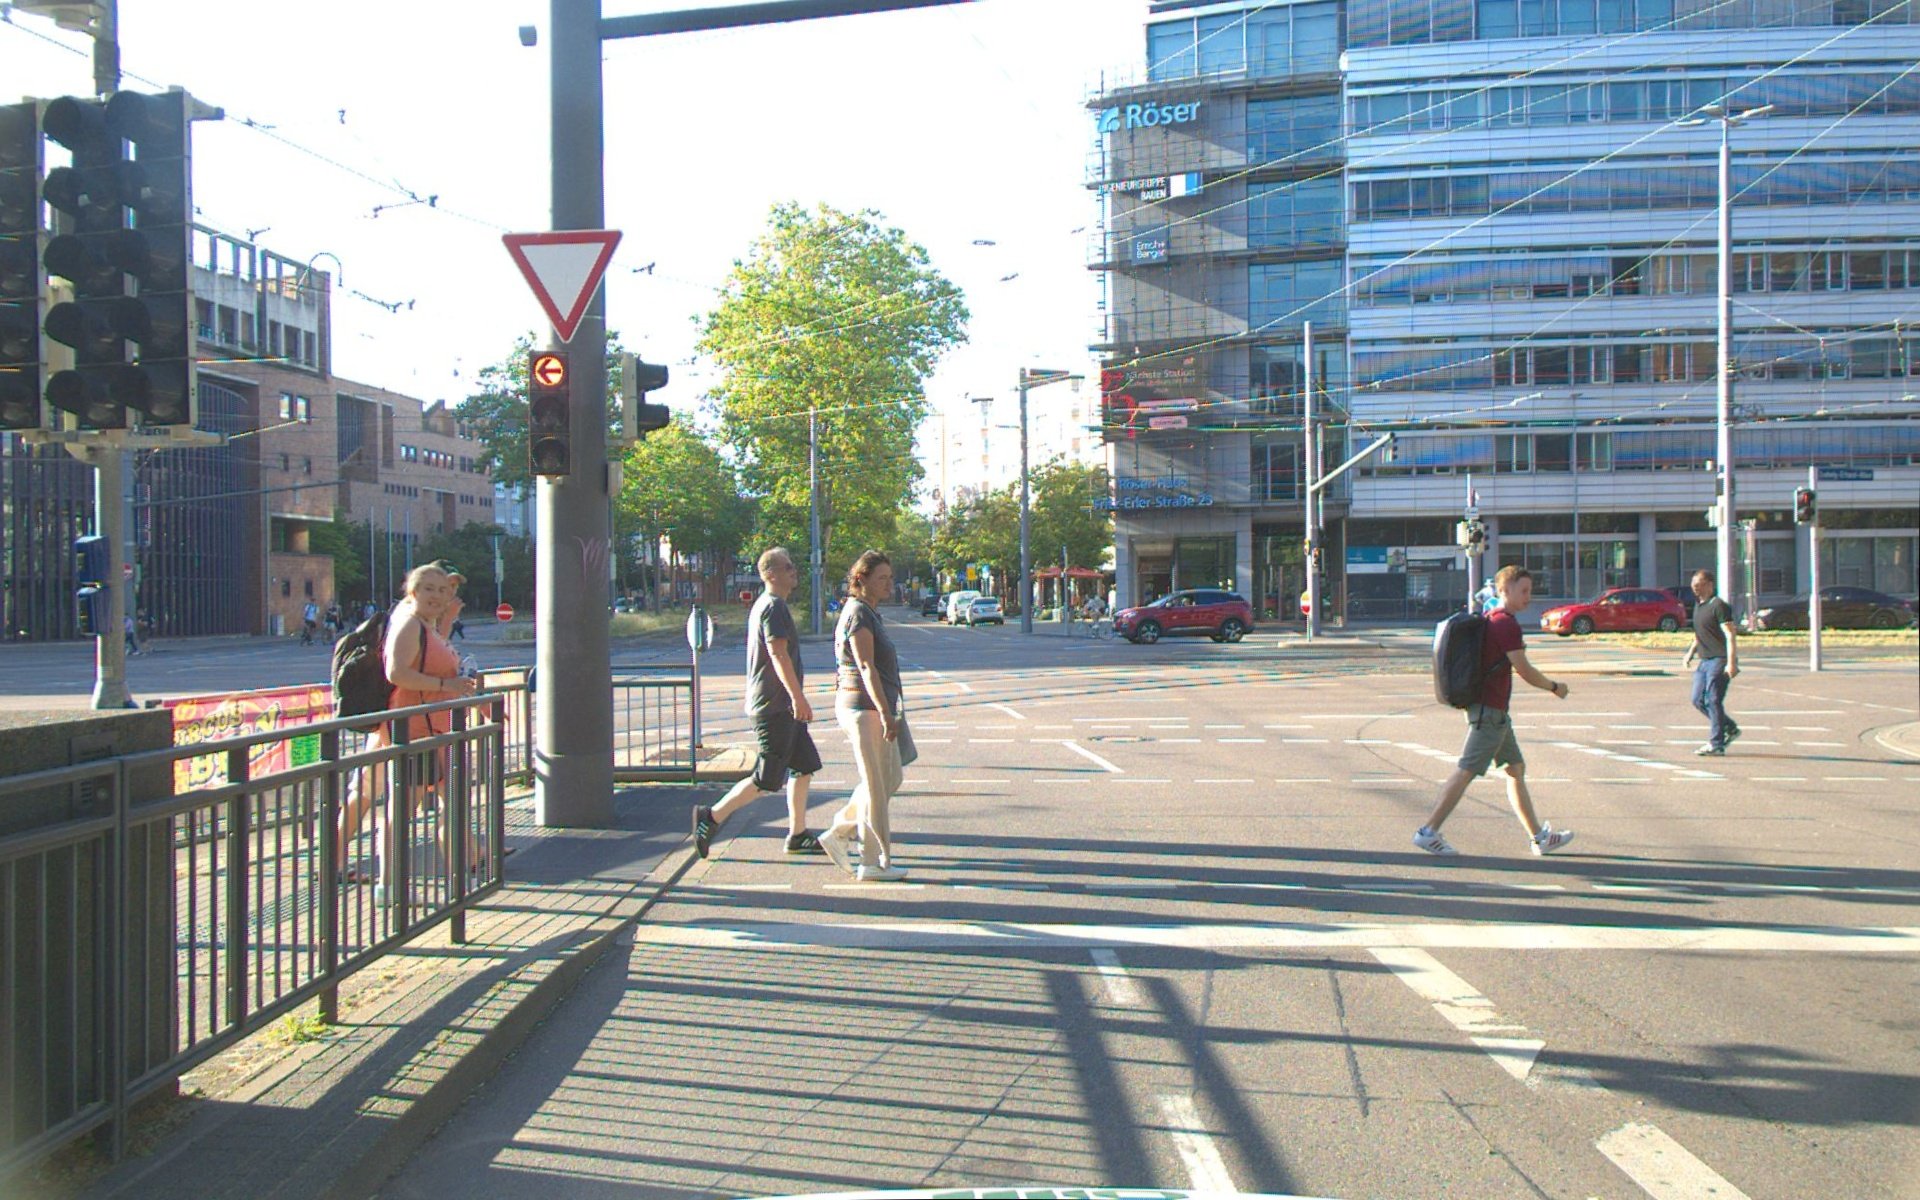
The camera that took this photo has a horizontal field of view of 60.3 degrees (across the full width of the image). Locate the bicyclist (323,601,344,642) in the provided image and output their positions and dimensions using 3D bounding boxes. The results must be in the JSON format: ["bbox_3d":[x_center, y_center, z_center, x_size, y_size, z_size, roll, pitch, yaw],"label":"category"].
[{"bbox_3d":[-26.210,0.907,69.207,0.582,1.705,0.788,-1,0,-7],"label":"bicyclist"}]

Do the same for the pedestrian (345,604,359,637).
[{"bbox_3d":[-34.413,1.140,93.603,0.479,1.842,0.546,-1,0,6],"label":"pedestrian"}]

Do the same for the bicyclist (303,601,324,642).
[{"bbox_3d":[-26.952,0.899,68.939,0.582,1.705,0.788,-1,0,-7],"label":"bicyclist"}]

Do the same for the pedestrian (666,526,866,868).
[{"bbox_3d":[-1.152,0.546,9.806,1.123,1.927,0.831,0,-1,-8],"label":"pedestrian"}]

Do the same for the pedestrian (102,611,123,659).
[{"bbox_3d":[-30.366,1.245,59.265,0.528,1.679,0.622,-2,0,-20],"label":"pedestrian"}]

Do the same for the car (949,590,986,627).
[{"bbox_3d":[0.421,0.465,93.490,1.953,2.026,3.999,-1,0,-1],"label":"car"}]

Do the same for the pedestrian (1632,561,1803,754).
[{"bbox_3d":[7.519,0.557,16.468,1.185,1.854,1.040,1,-1,-6],"label":"pedestrian"}]

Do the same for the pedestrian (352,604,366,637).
[{"bbox_3d":[-33.434,1.162,92.014,0.511,1.810,0.546,-1,0,6],"label":"pedestrian"}]

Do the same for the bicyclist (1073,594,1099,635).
[{"bbox_3d":[4.352,0.513,57.219,0.803,1.390,0.400,-1,0,-4],"label":"bicyclist"}]

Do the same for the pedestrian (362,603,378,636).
[{"bbox_3d":[-33.346,1.087,93.490,0.627,1.842,0.546,-1,0,6],"label":"pedestrian"}]

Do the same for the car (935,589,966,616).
[{"bbox_3d":[-0.669,0.174,108.787,1.953,1.691,3.999,-1,0,-1],"label":"car"}]

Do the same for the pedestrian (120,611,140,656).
[{"bbox_3d":[-30.905,1.237,61.592,0.528,1.679,0.622,-1,0,-20],"label":"pedestrian"}]

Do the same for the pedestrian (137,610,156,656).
[{"bbox_3d":[-29.675,1.203,60.337,0.528,1.679,0.622,-1,0,-18],"label":"pedestrian"}]

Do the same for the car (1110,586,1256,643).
[{"bbox_3d":[6.847,0.435,50.991,4.159,1.630,1.793,-1,0,-6],"label":"car"}]

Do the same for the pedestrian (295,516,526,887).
[{"bbox_3d":[-2.935,0.521,8.923,1.053,1.904,0.737,0,-1,-8],"label":"pedestrian"}]

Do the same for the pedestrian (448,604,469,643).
[{"bbox_3d":[-19.891,0.920,65.620,0.740,1.557,0.507,0,0,-8],"label":"pedestrian"}]

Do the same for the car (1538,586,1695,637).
[{"bbox_3d":[20.243,0.346,51.114,4.153,1.417,1.796,-1,0,1],"label":"car"}]

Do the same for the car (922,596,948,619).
[{"bbox_3d":[-1.965,0.562,130.480,1.953,1.691,3.999,-1,0,-1],"label":"car"}]

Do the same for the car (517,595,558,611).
[{"bbox_3d":[-45.085,0.321,176.492,3.948,1.579,1.589,1,-1,-32],"label":"car"}]

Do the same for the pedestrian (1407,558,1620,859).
[{"bbox_3d":[3.317,0.630,9.964,1.052,1.745,0.628,0,-1,-5],"label":"pedestrian"}]

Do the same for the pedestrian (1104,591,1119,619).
[{"bbox_3d":[8.123,0.254,88.782,0.724,1.491,0.536,-2,0,-3],"label":"pedestrian"}]

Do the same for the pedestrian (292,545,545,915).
[{"bbox_3d":[-2.619,0.601,8.105,1.052,1.711,0.756,0,-1,-8],"label":"pedestrian"}]

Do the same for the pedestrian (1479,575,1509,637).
[{"bbox_3d":[15.032,0.165,46.575,0.704,1.711,0.557,0,0,6],"label":"pedestrian"}]

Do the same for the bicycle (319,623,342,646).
[{"bbox_3d":[-26.302,1.429,69.146,0.503,0.897,1.835,-1,0,-9],"label":"bicycle"}]

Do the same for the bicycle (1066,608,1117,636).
[{"bbox_3d":[4.554,0.768,57.240,1.707,0.915,0.409,-1,0,-4],"label":"bicycle"}]

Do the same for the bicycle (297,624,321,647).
[{"bbox_3d":[-27.095,1.470,68.827,0.503,0.897,1.835,-1,0,-9],"label":"bicycle"}]

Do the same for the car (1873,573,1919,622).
[{"bbox_3d":[30.467,-0.118,50.488,4.151,1.459,1.796,-1,0,4],"label":"car"}]

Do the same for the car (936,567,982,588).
[{"bbox_3d":[-0.072,-1.978,145.247,3.681,1.780,1.783,0,-1,14],"label":"car"}]

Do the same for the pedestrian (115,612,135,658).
[{"bbox_3d":[-30.724,1.289,60.876,0.528,1.679,0.622,-2,0,-20],"label":"pedestrian"}]

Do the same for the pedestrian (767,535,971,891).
[{"bbox_3d":[-0.512,0.583,8.993,1.051,1.837,0.756,0,-1,-8],"label":"pedestrian"}]

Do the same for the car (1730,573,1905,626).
[{"bbox_3d":[24.981,-0.024,48.277,4.151,1.417,1.796,-1,0,4],"label":"car"}]

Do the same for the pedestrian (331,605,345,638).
[{"bbox_3d":[-34.726,1.213,92.364,0.479,1.842,0.546,-1,0,6],"label":"pedestrian"}]

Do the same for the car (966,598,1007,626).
[{"bbox_3d":[1.356,0.606,86.613,1.953,1.355,3.999,-1,0,-1],"label":"car"}]
